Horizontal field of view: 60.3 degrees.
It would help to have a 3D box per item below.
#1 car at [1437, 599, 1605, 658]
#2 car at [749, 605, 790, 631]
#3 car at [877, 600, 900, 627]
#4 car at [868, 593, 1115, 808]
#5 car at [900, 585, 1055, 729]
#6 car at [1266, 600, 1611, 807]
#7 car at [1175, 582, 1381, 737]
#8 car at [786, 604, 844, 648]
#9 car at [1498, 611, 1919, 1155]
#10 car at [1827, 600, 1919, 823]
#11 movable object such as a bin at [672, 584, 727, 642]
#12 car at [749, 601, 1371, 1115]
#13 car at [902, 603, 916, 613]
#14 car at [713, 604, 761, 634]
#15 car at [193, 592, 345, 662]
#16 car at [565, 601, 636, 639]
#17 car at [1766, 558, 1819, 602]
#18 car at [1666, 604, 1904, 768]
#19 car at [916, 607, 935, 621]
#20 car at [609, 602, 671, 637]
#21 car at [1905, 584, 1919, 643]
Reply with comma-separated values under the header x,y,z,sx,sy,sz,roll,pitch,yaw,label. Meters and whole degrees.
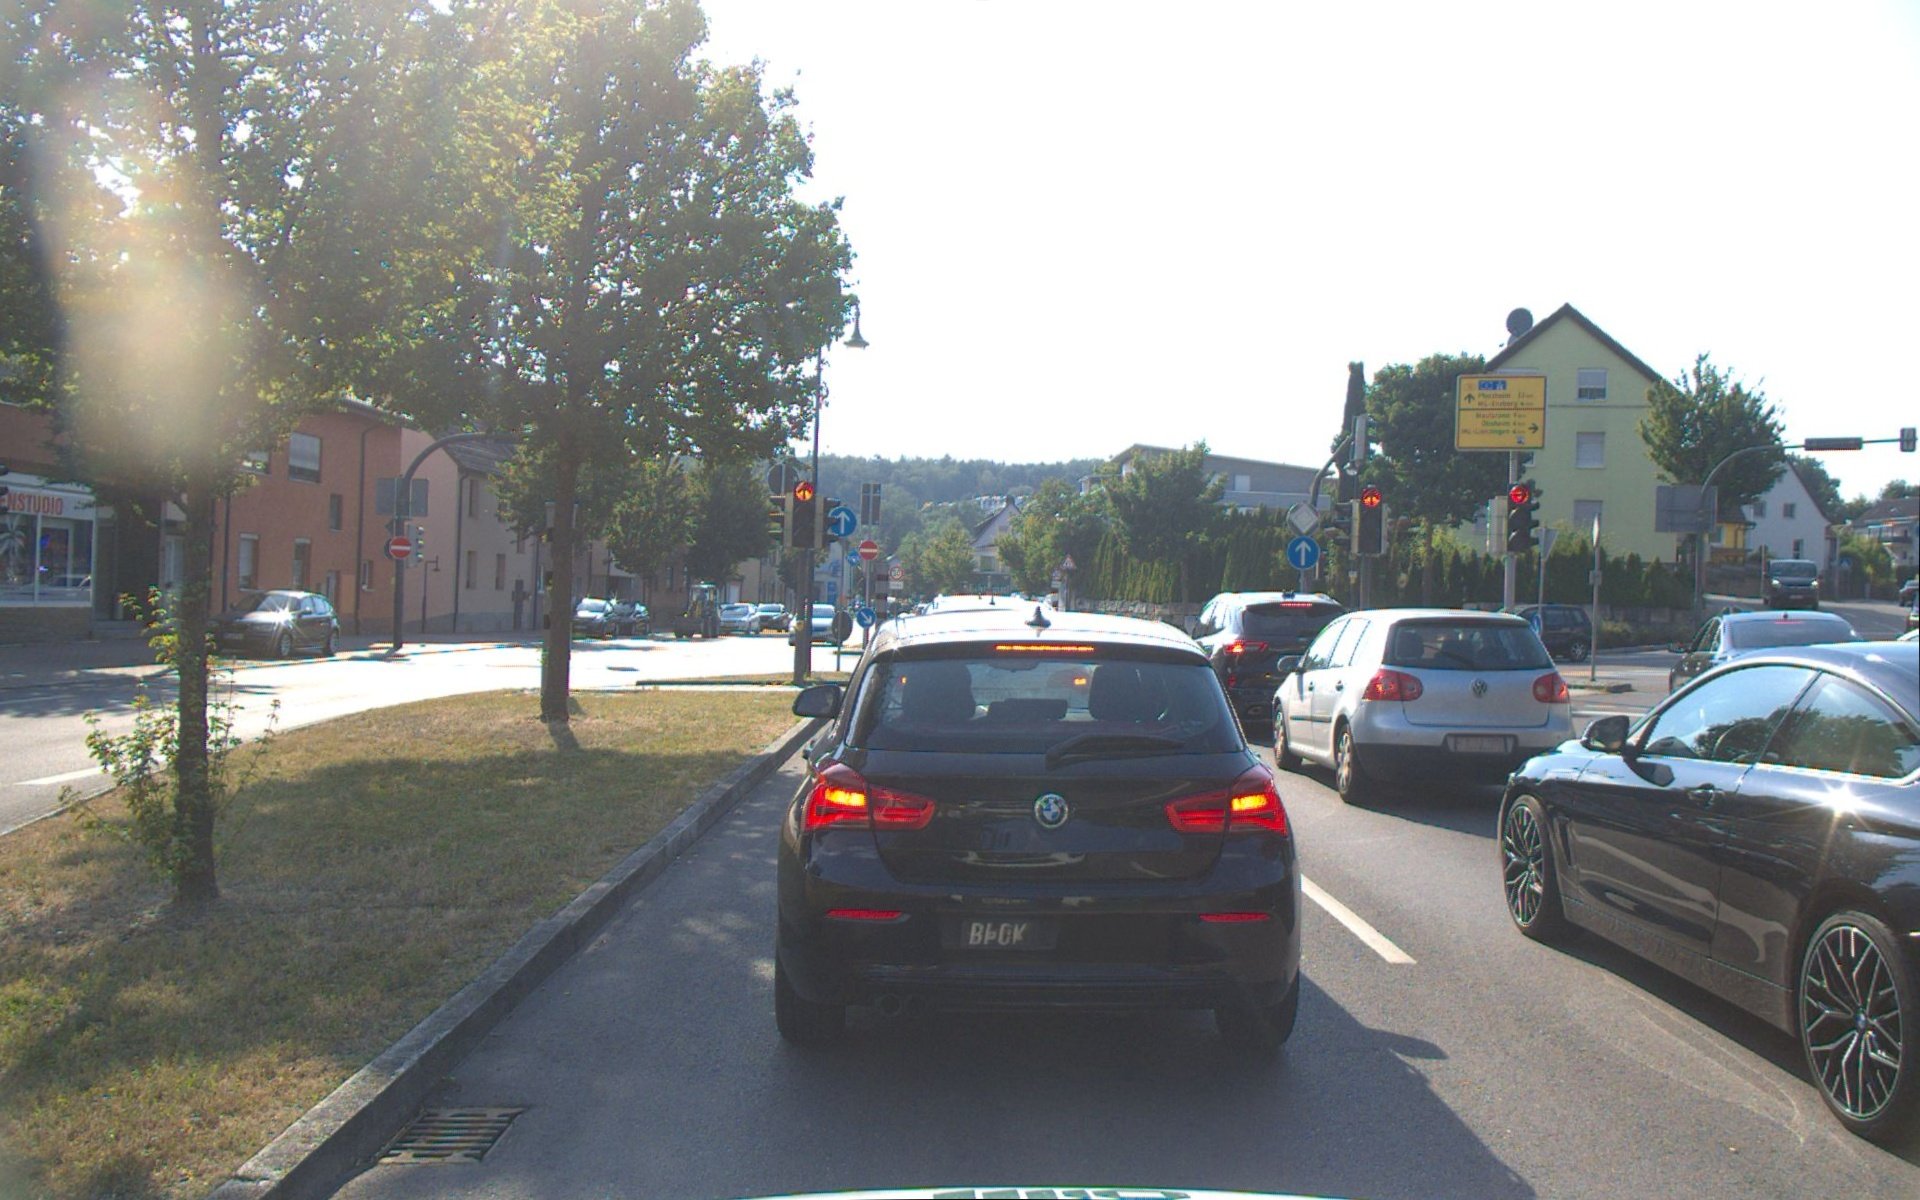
x,y,z,sx,sy,sz,roll,pitch,yaw,label
15.157,0.760,44.823,3.907,1.515,1.847,1,0,-3,car
-11.069,1.014,96.493,1.701,1.323,3.800,5,0,2,car
-6.839,1.294,158.785,2.042,2.435,5.527,1,0,-1,car
0.222,0.711,13.974,1.751,1.520,4.280,-1,0,0,car
0.193,0.644,21.015,1.751,1.622,4.280,-1,0,0,car
3.777,0.736,13.766,1.725,1.451,3.902,-1,0,0,car
3.731,0.644,20.048,1.725,1.685,3.902,-1,0,0,car
-5.276,0.932,60.598,1.801,1.508,3.999,1,0,-1,car
3.455,0.780,5.809,1.725,1.422,4.280,-1,0,0,car
7.606,0.794,11.617,1.583,1.569,3.320,-1,0,6,car
-11.615,0.564,73.989,1.701,2.485,4.449,0,0,0,movable object such as a bin
0.280,0.731,6.830,1.751,1.422,4.280,-1,0,0,car
-7.557,1.127,243.988,1.701,1.323,3.800,5,0,2,car
-11.332,0.969,84.130,1.701,1.323,3.800,5,0,2,car
-15.484,0.571,37.285,1.702,1.323,3.999,5,0,-1,car
-14.507,0.805,66.899,1.701,1.323,4.001,5,0,3,car
35.325,-0.810,70.275,1.805,1.770,4.781,1,0,25,car
9.031,0.848,18.450,1.621,1.569,4.401,-1,0,17,car
-3.828,1.571,184.481,1.701,1.323,3.800,5,0,2,car
-14.118,0.838,73.087,1.701,1.323,4.001,5,0,2,car
29.061,0.413,48.752,1.810,1.670,4.417,1,0,33,car
